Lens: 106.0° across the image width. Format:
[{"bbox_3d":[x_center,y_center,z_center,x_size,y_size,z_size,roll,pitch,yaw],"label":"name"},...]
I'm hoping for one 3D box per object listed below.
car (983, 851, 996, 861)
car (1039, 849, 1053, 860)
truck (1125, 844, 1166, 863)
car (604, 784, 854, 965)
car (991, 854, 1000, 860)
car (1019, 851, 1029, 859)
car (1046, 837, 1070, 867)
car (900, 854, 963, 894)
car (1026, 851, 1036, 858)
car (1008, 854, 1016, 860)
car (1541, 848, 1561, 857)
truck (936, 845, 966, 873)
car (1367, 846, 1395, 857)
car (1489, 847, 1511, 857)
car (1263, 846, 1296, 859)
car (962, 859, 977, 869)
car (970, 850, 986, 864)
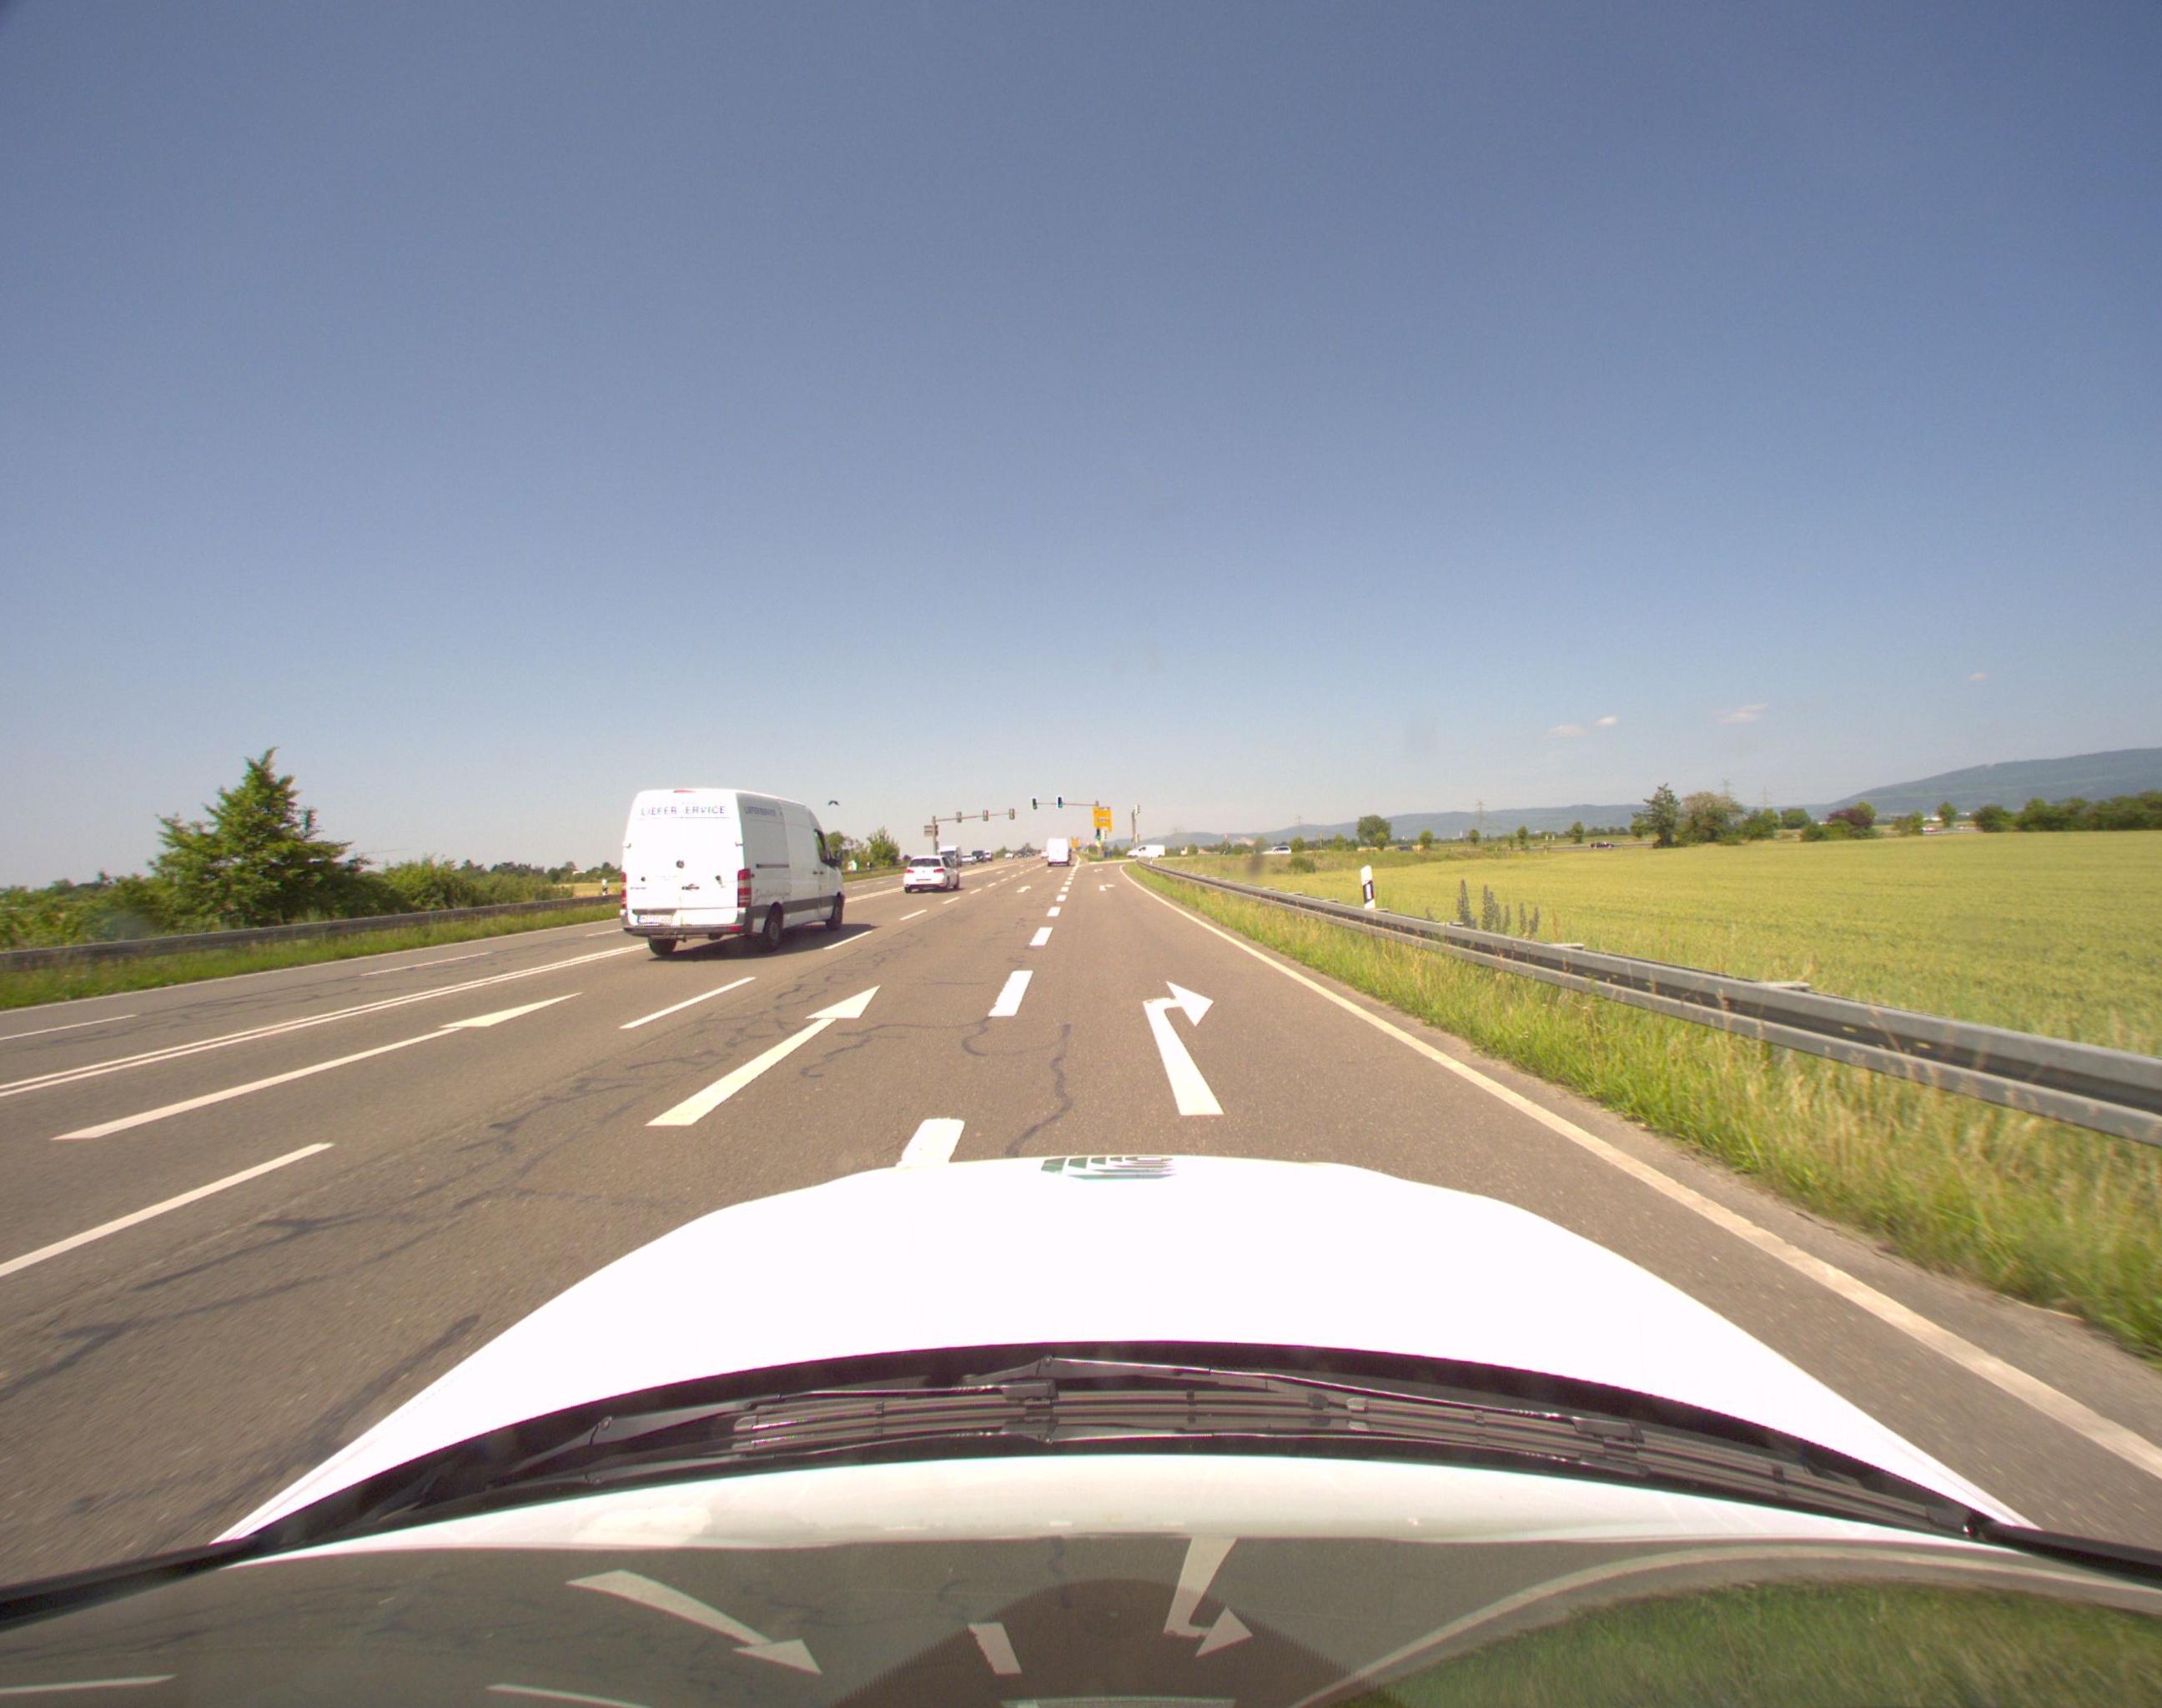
[{"bbox_3d":[-15.385,0.414,137.201,1.596,1.582,3.333,-1,-1,1],"label":"car"},{"bbox_3d":[-5.808,0.083,135.995,1.987,1.703,4.274,-1,-1,0],"label":"car"},{"bbox_3d":[8.318,-0.047,104.584,4.852,2.320,1.990,0,-1,-15],"label":"truck"},{"bbox_3d":[-6.006,0.290,14.919,2.033,2.620,5.740,-1,0,0],"label":"car"},{"bbox_3d":[-18.963,0.590,180.118,1.457,1.274,3.333,-1,-1,1],"label":"car"},{"bbox_3d":[-11.706,0.180,167.201,1.628,1.486,4.003,-1,-1,3],"label":"car"},{"bbox_3d":[-2.114,-0.169,75.072,1.987,2.695,4.968,-1,0,0],"label":"car"},{"bbox_3d":[-6.110,0.772,33.721,1.794,1.508,4.195,-2,0,0],"label":"car"},{"bbox_3d":[-12.254,0.043,200.065,1.985,1.618,4.004,-1,-1,4],"label":"car"},{"bbox_3d":[-15.423,0.589,182.065,1.457,1.274,3.333,-1,-1,1],"label":"car"},{"bbox_3d":[86.304,-0.295,149.640,3.495,1.486,1.633,0,-1,-30],"label":"car"},{"bbox_3d":[-14.786,0.603,92.919,2.289,2.957,5.283,-1,-1,1],"label":"truck"},{"bbox_3d":[42.055,-0.301,114.197,3.489,1.486,1.636,0,-1,-24],"label":"car"},{"bbox_3d":[67.727,-0.352,131.591,3.495,1.486,1.633,0,-1,-30],"label":"car"},{"bbox_3d":[26.977,-0.150,110.734,4.005,1.684,1.984,0,-1,-24],"label":"car"},{"bbox_3d":[-14.839,1.308,108.679,1.457,1.274,3.333,-1,-1,1],"label":"car"},{"bbox_3d":[-15.376,0.450,122.075,1.867,1.887,3.333,-1,-1,1],"label":"car"}]
